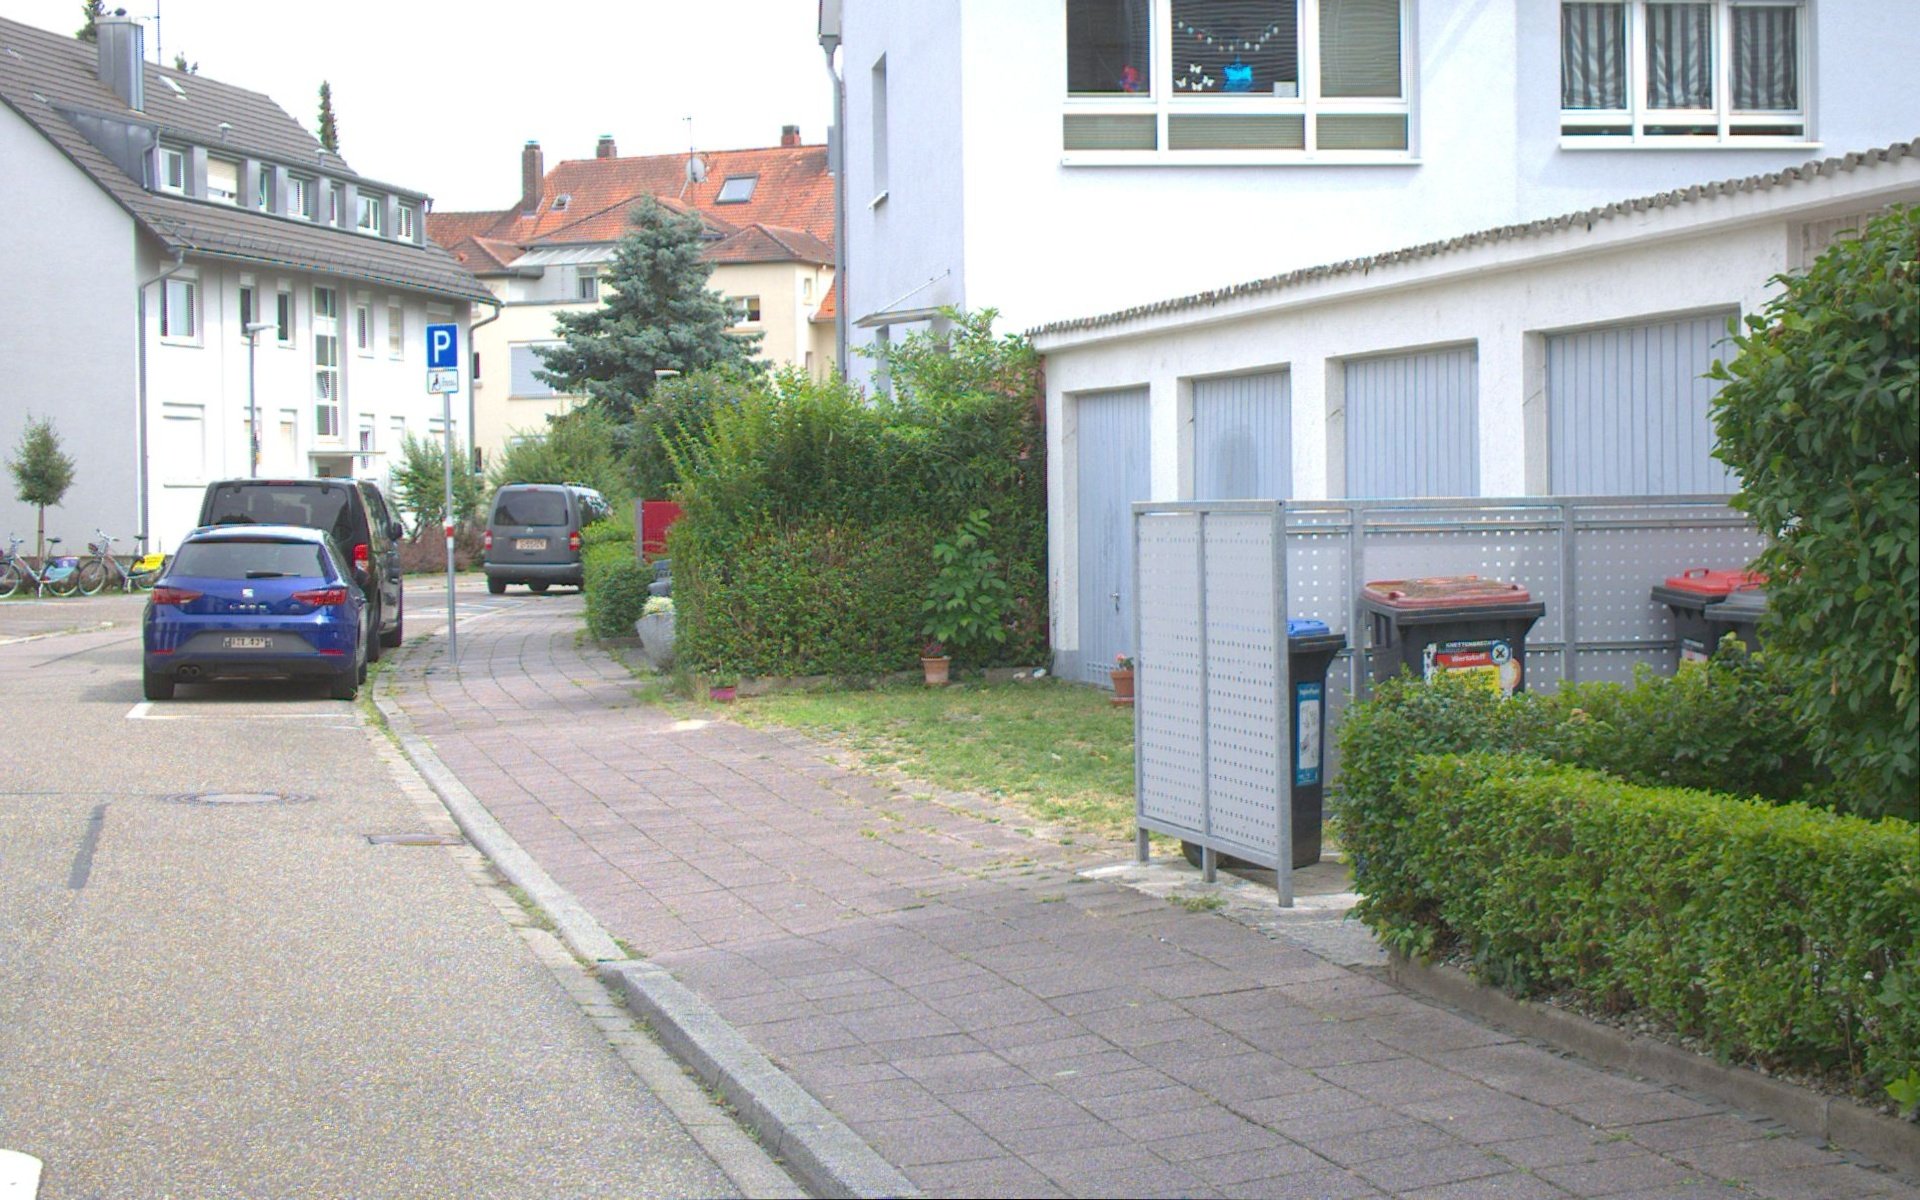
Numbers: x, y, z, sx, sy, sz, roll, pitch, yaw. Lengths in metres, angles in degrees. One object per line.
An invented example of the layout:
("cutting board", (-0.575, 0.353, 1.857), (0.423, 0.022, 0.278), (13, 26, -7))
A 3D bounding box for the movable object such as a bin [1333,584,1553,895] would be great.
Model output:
("movable object such as a bin", (1.828, 0.515, 13.083), (0.579, 1.134, 0.755), (-1, 0, -12))

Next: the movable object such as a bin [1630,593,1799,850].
("movable object such as a bin", (2.935, 0.466, 13.390), (0.453, 0.970, 0.507), (-1, 0, -12))

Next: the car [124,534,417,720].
("car", (-5.812, 0.225, 29.416), (1.722, 1.447, 4.000), (-1, 0, -1))

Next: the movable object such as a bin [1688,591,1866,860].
("movable object such as a bin", (3.037, 0.457, 12.804), (0.453, 0.970, 0.507), (-1, 0, -12))

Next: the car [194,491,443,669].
("car", (-6.744, -0.192, 36.568), (1.853, 1.736, 4.346), (-1, 0, -1))

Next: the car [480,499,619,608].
("car", (-6.929, -0.763, 58.401), (1.853, 1.736, 4.346), (-1, 0, -1))

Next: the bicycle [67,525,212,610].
("bicycle", (-14.400, -0.576, 60.354), (2.346, 1.455, 0.719), (-1, 0, -34))

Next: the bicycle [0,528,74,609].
("bicycle", (-16.270, -0.537, 59.215), (1.833, 1.368, 0.671), (-1, 0, -24))

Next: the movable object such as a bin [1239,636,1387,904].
("movable object such as a bin", (1.316, 0.626, 12.870), (0.389, 0.970, 0.515), (-1, 0, -12))
